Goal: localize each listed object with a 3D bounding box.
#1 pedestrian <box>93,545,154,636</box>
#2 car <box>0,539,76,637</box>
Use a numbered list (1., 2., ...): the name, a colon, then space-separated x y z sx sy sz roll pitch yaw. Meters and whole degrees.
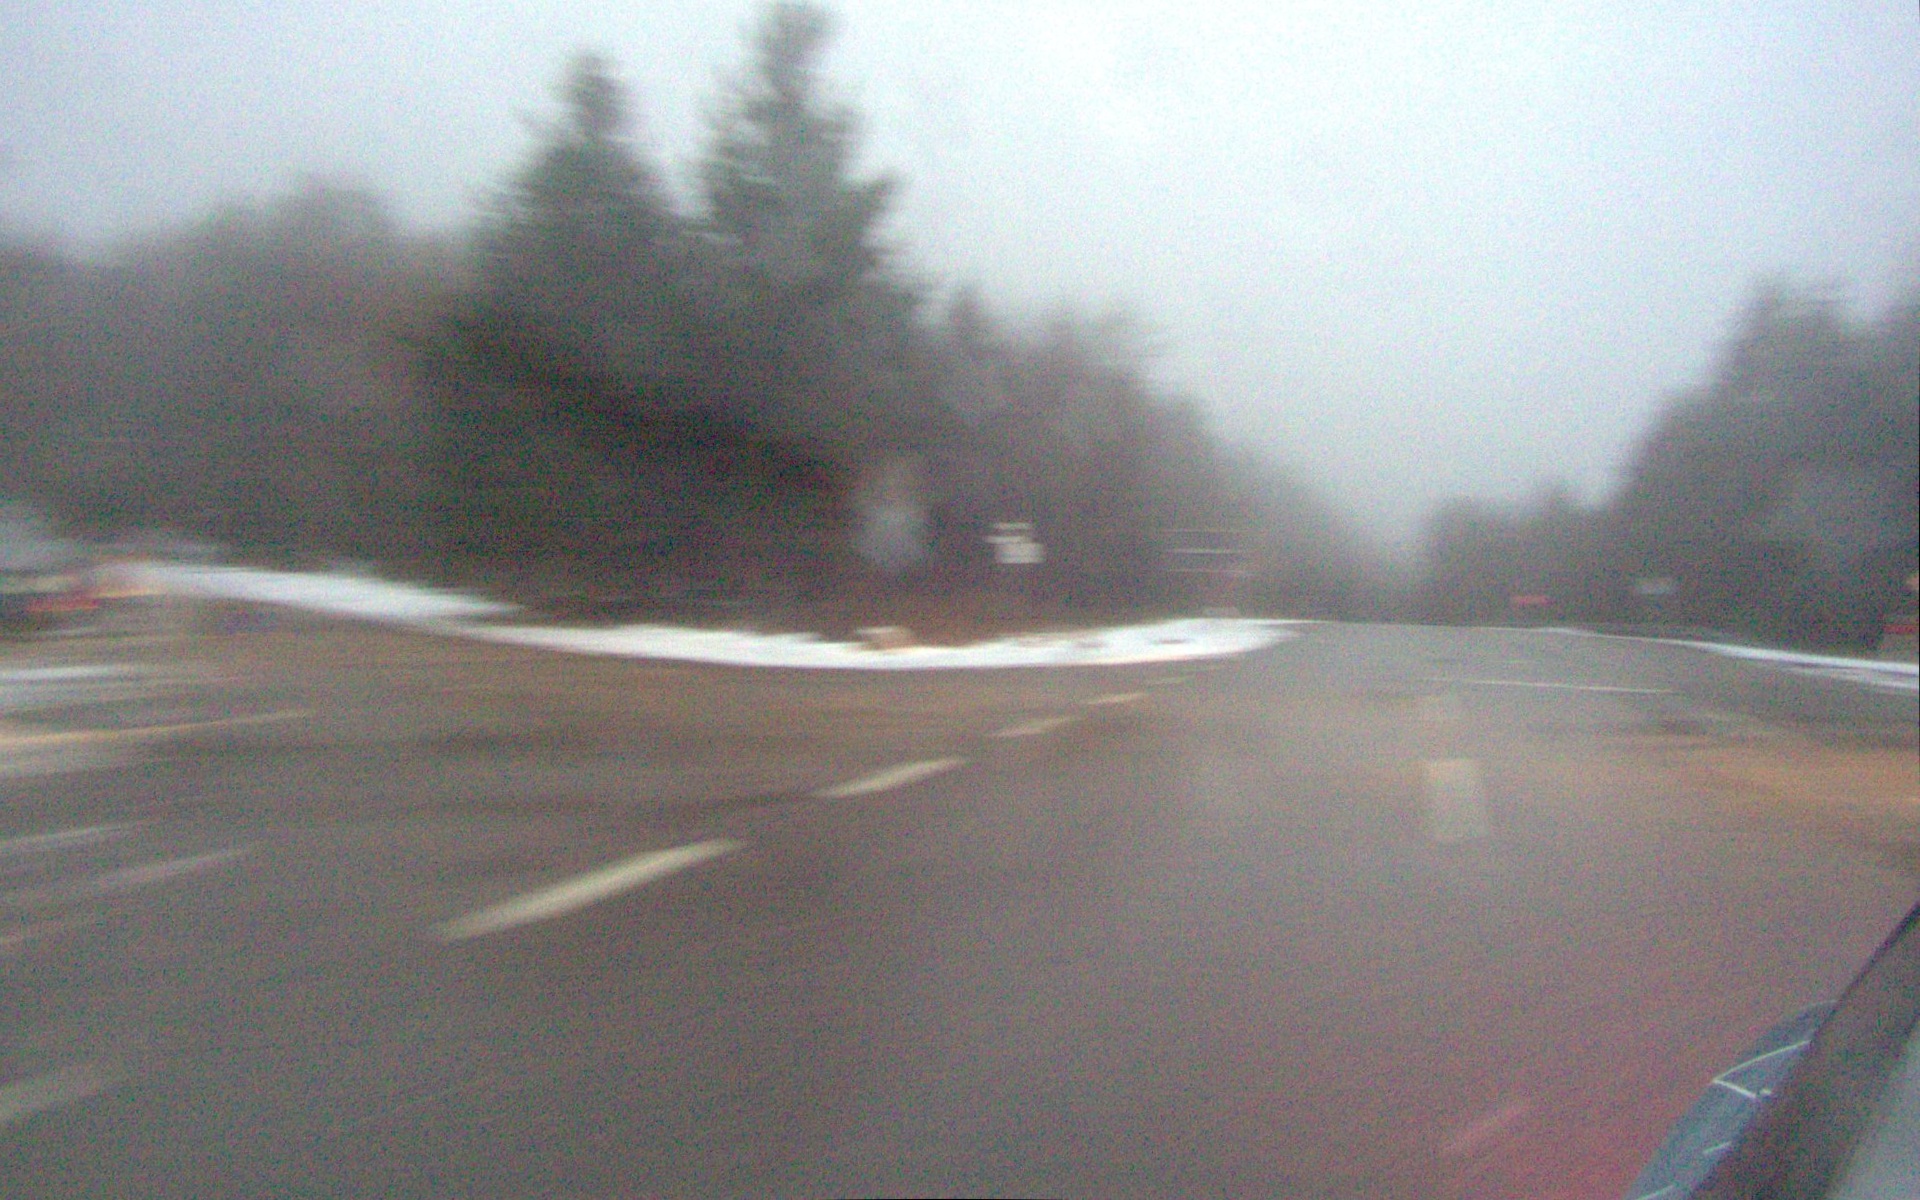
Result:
1. pedestrian: -17.612 -0.198 21.321 0.946 1.851 0.924 1 -1 -39
2. car: -19.883 -0.237 19.742 3.894 1.905 1.995 1 -1 -44
